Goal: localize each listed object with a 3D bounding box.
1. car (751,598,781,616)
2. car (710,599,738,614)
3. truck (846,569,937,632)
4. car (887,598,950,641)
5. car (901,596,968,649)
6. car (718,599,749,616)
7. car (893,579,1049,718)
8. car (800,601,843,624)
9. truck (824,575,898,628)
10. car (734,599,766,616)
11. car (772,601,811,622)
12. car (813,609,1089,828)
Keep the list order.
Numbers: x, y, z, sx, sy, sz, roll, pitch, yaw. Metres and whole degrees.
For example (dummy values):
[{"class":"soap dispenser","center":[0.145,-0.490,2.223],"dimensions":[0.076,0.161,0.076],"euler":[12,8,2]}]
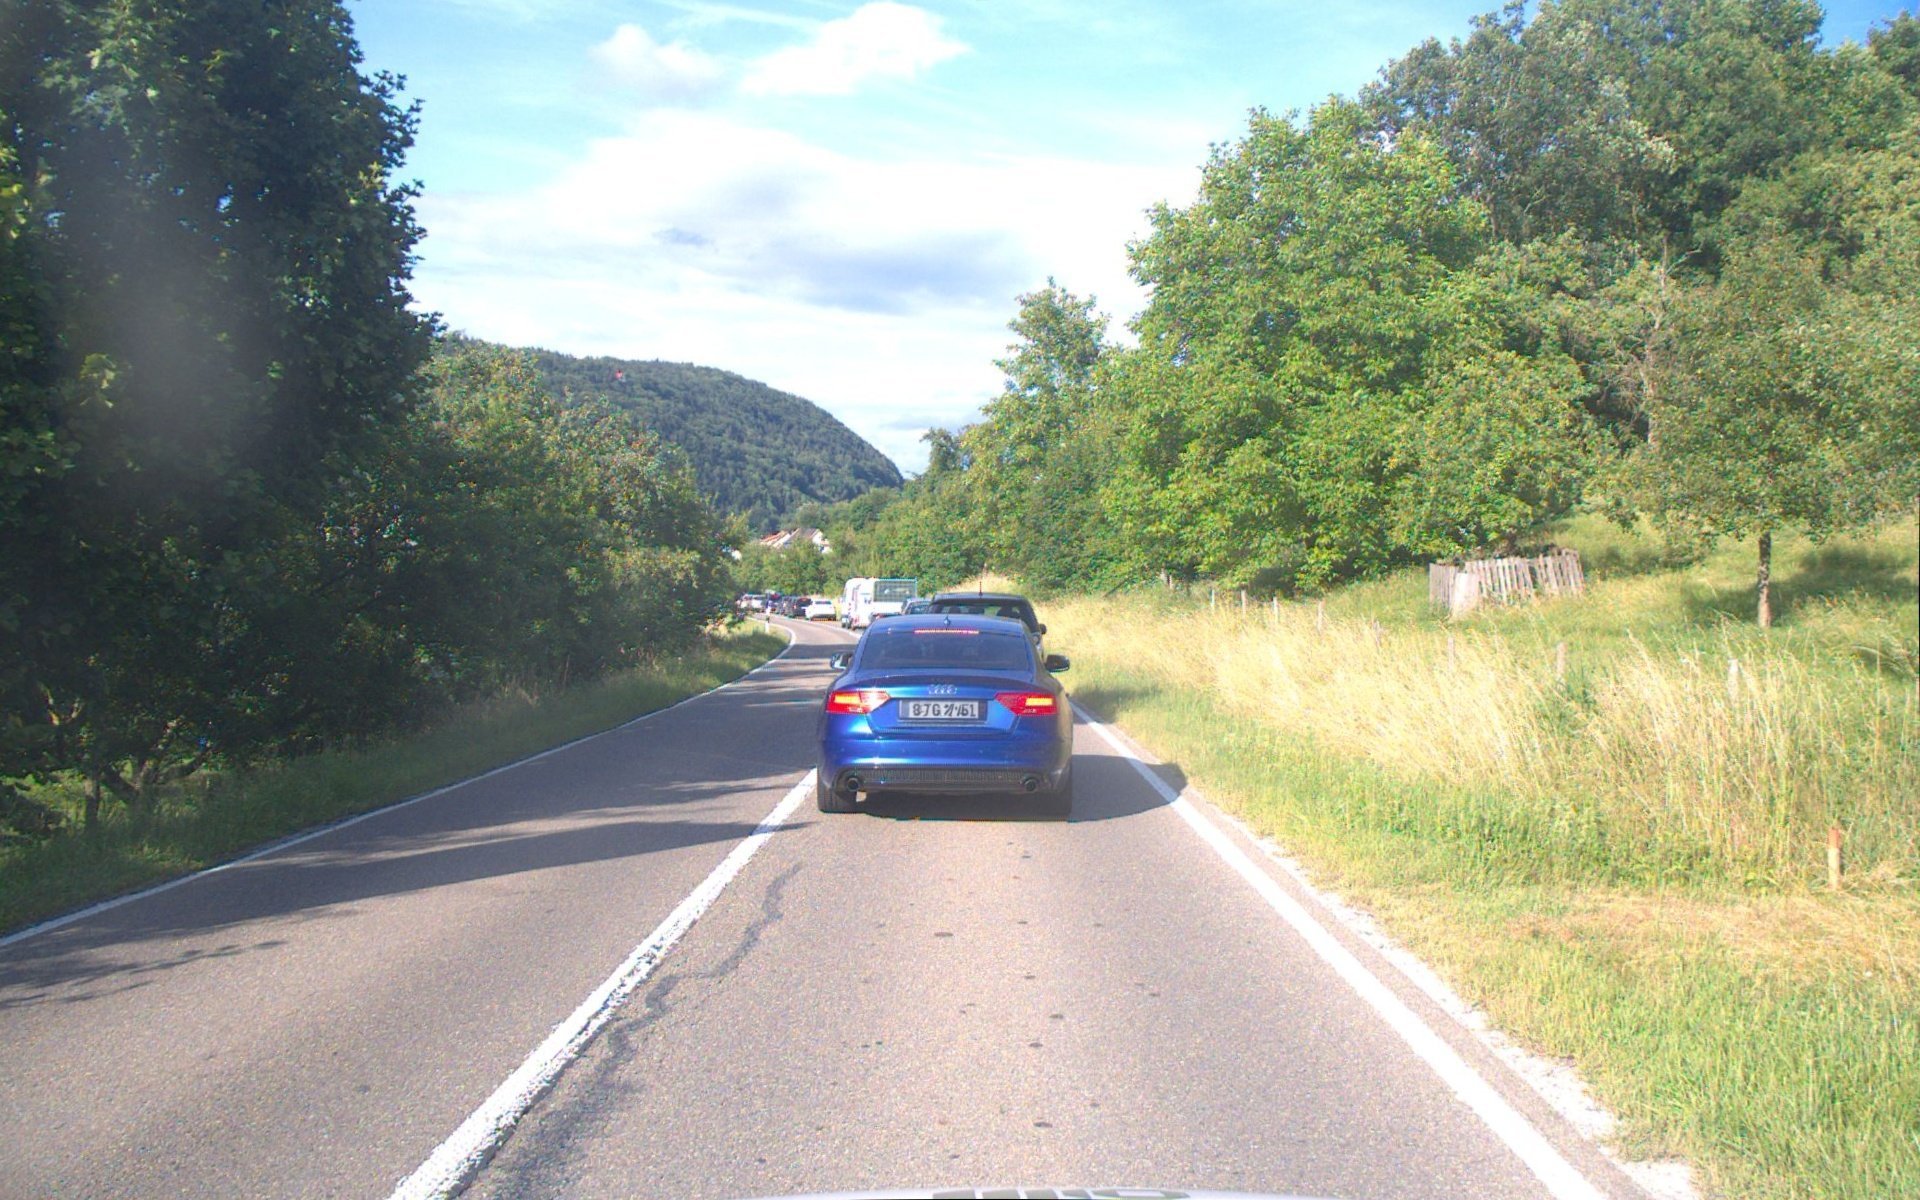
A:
[{"class":"car","center":[-16.671,0.635,141.867],"dimensions":[1.961,1.508,3.982],"euler":[1,-1,-16]},{"class":"car","center":[-23.932,0.675,167.701],"dimensions":[1.966,1.508,3.973],"euler":[1,-1,-22]},{"class":"truck","center":[-3.315,0.028,76.636],"dimensions":[2.812,2.712,10.366],"euler":[1,0,-10]},{"class":"car","center":[-1.573,0.711,61.223],"dimensions":[1.955,1.508,3.994],"euler":[1,-1,-7]},{"class":"car","center":[-0.745,0.680,50.483],"dimensions":[1.953,1.508,4.000],"euler":[1,-1,0]},{"class":"car","center":[-21.441,0.706,156.575],"dimensions":[1.966,1.508,3.973],"euler":[1,-1,-22]},{"class":"car","center":[0.152,0.629,22.901],"dimensions":[1.953,1.732,4.000],"euler":[1,-1,0]},{"class":"car","center":[-9.485,0.827,113.234],"dimensions":[1.964,1.508,3.976],"euler":[1,-1,-20]},{"class":"truck","center":[-5.539,0.082,90.675],"dimensions":[2.812,2.712,10.618],"euler":[1,0,-10]},{"class":"car","center":[-19.126,0.705,150.360],"dimensions":[1.966,1.508,3.973],"euler":[1,-1,-22]},{"class":"car","center":[-12.319,0.833,120.939],"dimensions":[1.964,1.508,3.976],"euler":[1,-1,-20]},{"class":"car","center":[-0.016,0.773,12.613],"dimensions":[1.756,1.383,4.000],"euler":[1,0,1]}]
